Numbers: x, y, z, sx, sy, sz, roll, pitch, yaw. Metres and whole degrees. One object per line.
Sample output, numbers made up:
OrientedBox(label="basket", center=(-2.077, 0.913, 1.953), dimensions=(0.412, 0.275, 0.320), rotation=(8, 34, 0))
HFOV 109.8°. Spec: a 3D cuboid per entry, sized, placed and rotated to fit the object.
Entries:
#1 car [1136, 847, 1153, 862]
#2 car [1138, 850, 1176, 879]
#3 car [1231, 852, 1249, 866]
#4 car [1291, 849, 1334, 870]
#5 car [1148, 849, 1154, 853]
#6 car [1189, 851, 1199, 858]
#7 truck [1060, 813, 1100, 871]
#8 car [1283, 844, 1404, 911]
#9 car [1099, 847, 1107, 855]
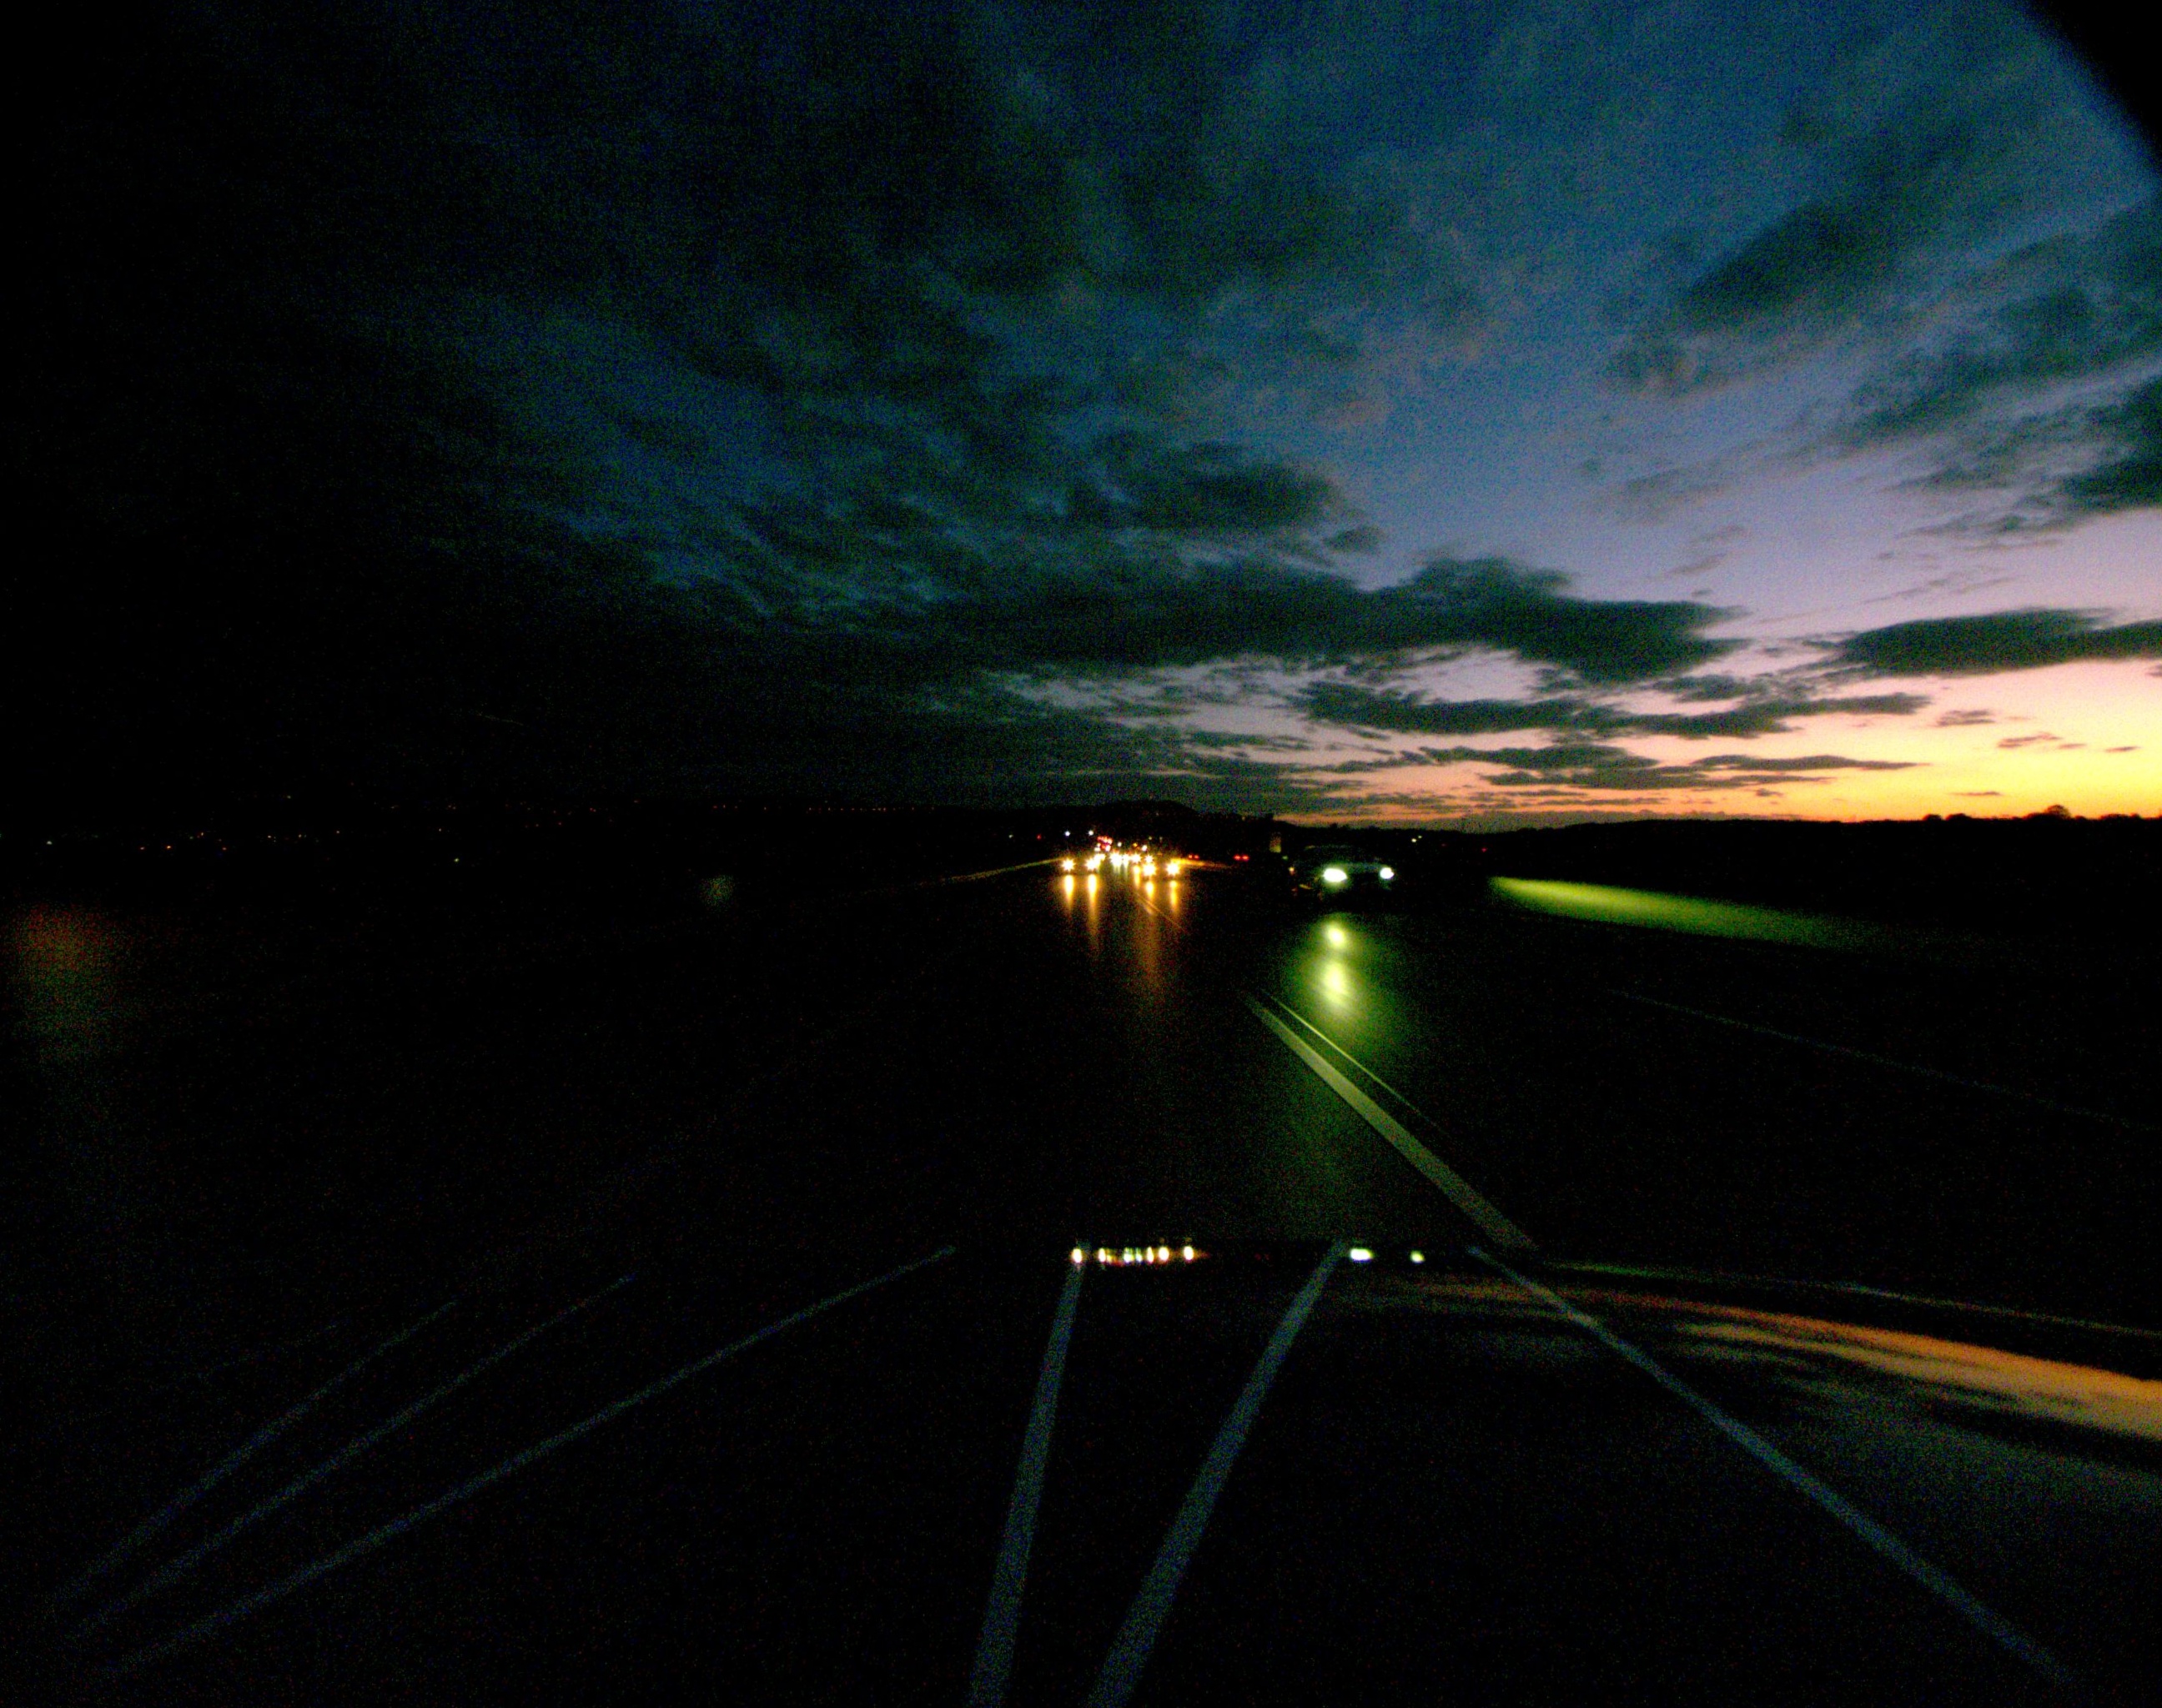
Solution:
OrientedBox(label="car", center=(8.204, 0.084, 98.717), dimensions=(1.862, 1.826, 3.999), rotation=(-2, 1, 1))
OrientedBox(label="car", center=(4.444, 0.593, 44.820), dimensions=(1.802, 1.531, 4.159), rotation=(-2, 1, 1))
OrientedBox(label="car", center=(23.838, 0.716, 114.230), dimensions=(1.778, 2.002, 4.418), rotation=(-2, 1, 1))
OrientedBox(label="car", center=(16.516, 0.367, 54.358), dimensions=(1.675, 1.293, 4.704), rotation=(-2, 1, 1))
OrientedBox(label="car", center=(23.448, -1.129, 255.386), dimensions=(1.670, 1.174, 3.999), rotation=(-2, 1, 1))
OrientedBox(label="car", center=(25.089, 0.087, 168.825), dimensions=(1.662, 1.526, 4.519), rotation=(-2, 1, 1))
OrientedBox(label="truck", center=(0.031, -0.932, 66.953), dimensions=(3.012, 4.570, 12.578), rotation=(-2, 0, 1))
OrientedBox(label="car", center=(7.388, 0.573, 21.929), dimensions=(1.819, 1.638, 4.856), rotation=(-2, 1, 1))
OrientedBox(label="car", center=(5.522, -0.834, 188.523), dimensions=(1.862, 1.826, 3.999), rotation=(-2, 1, 1))
